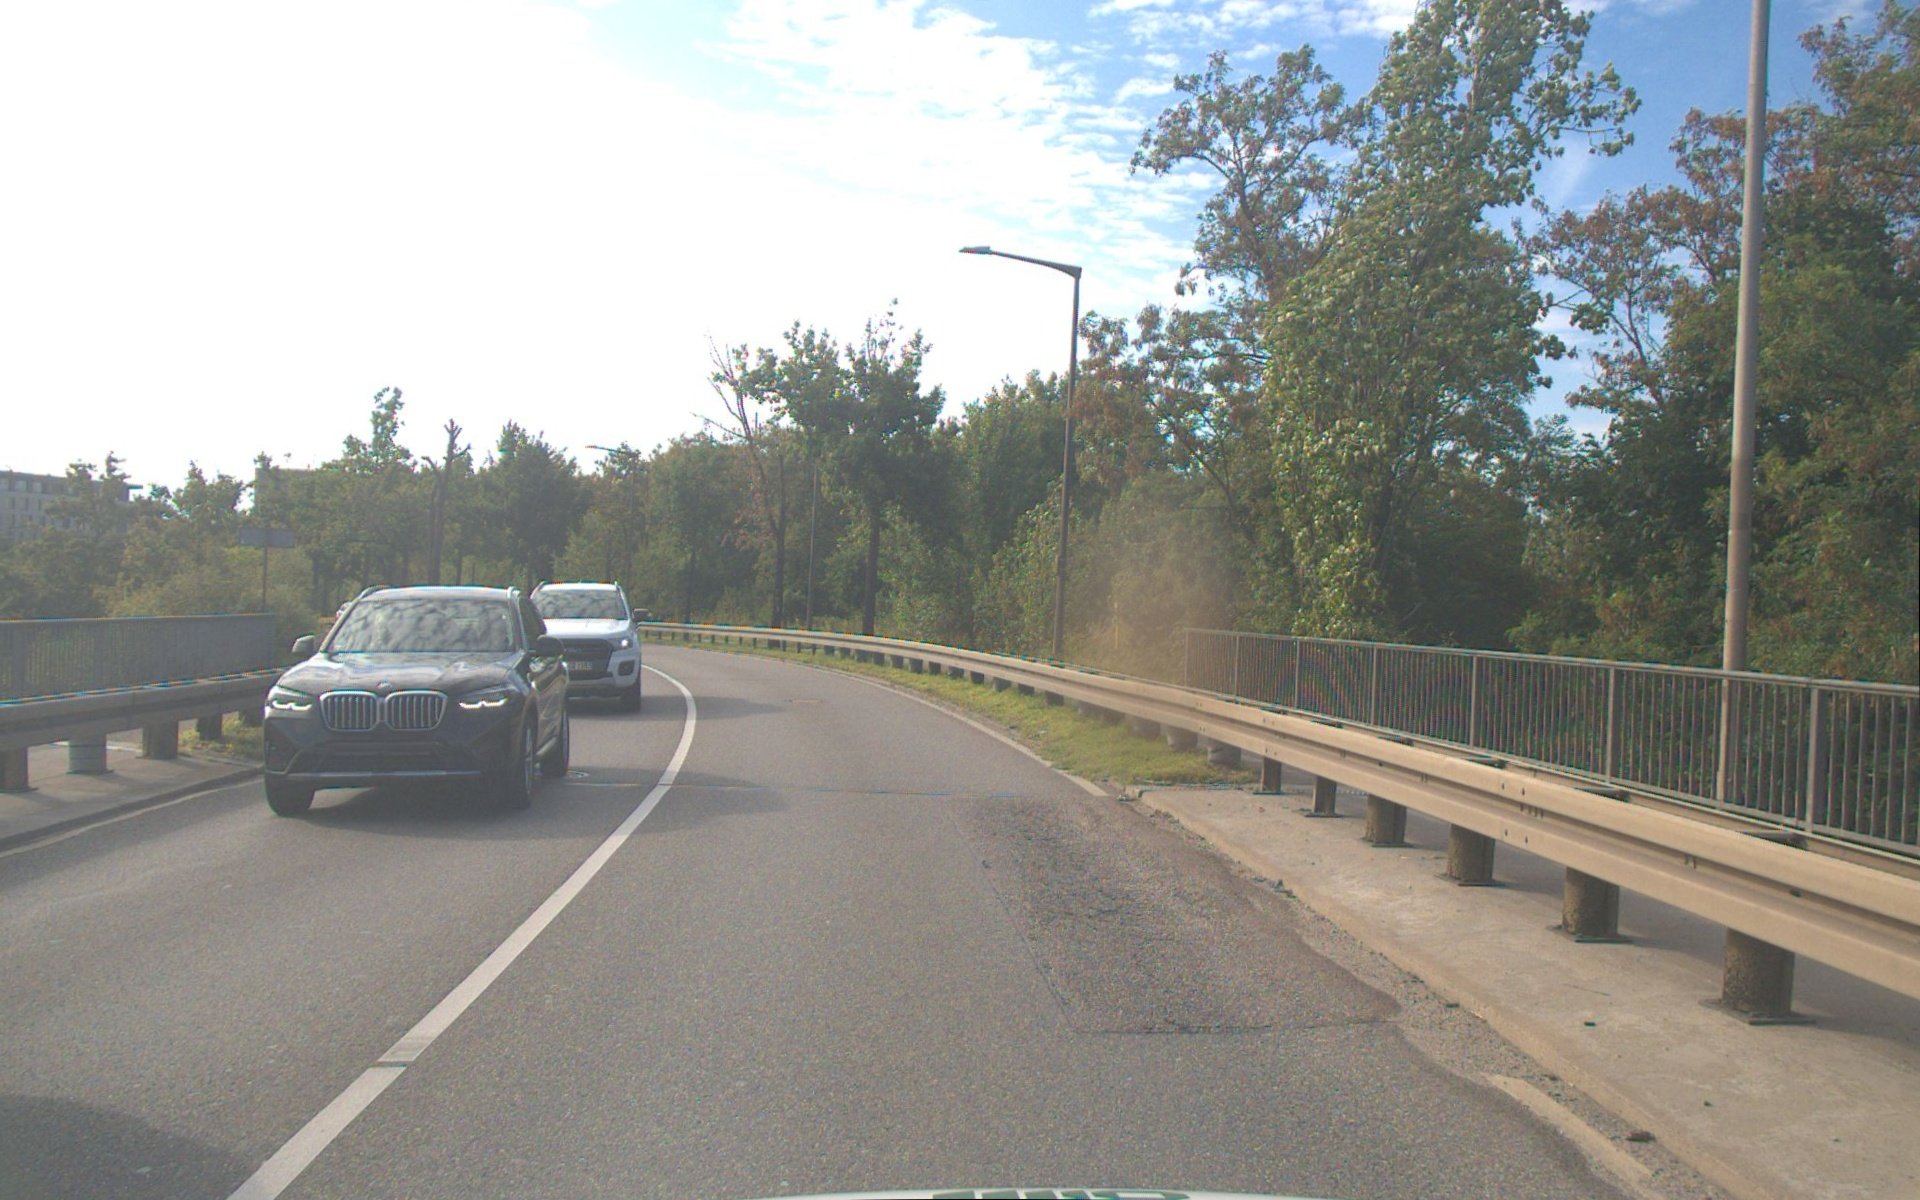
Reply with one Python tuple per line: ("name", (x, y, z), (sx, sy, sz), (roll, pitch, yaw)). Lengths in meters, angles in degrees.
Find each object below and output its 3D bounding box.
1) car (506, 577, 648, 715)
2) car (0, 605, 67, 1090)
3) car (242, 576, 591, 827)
("car", (-5.663, 0.630, 24.989), (1.866, 1.842, 5.389), (0, 0, -11))
("car", (-3.710, 0.762, 3.294), (1.697, 1.481, 4.263), (0, 0, -3))
("car", (-4.199, 0.683, 13.559), (1.854, 1.678, 4.634), (0, 0, -7))
